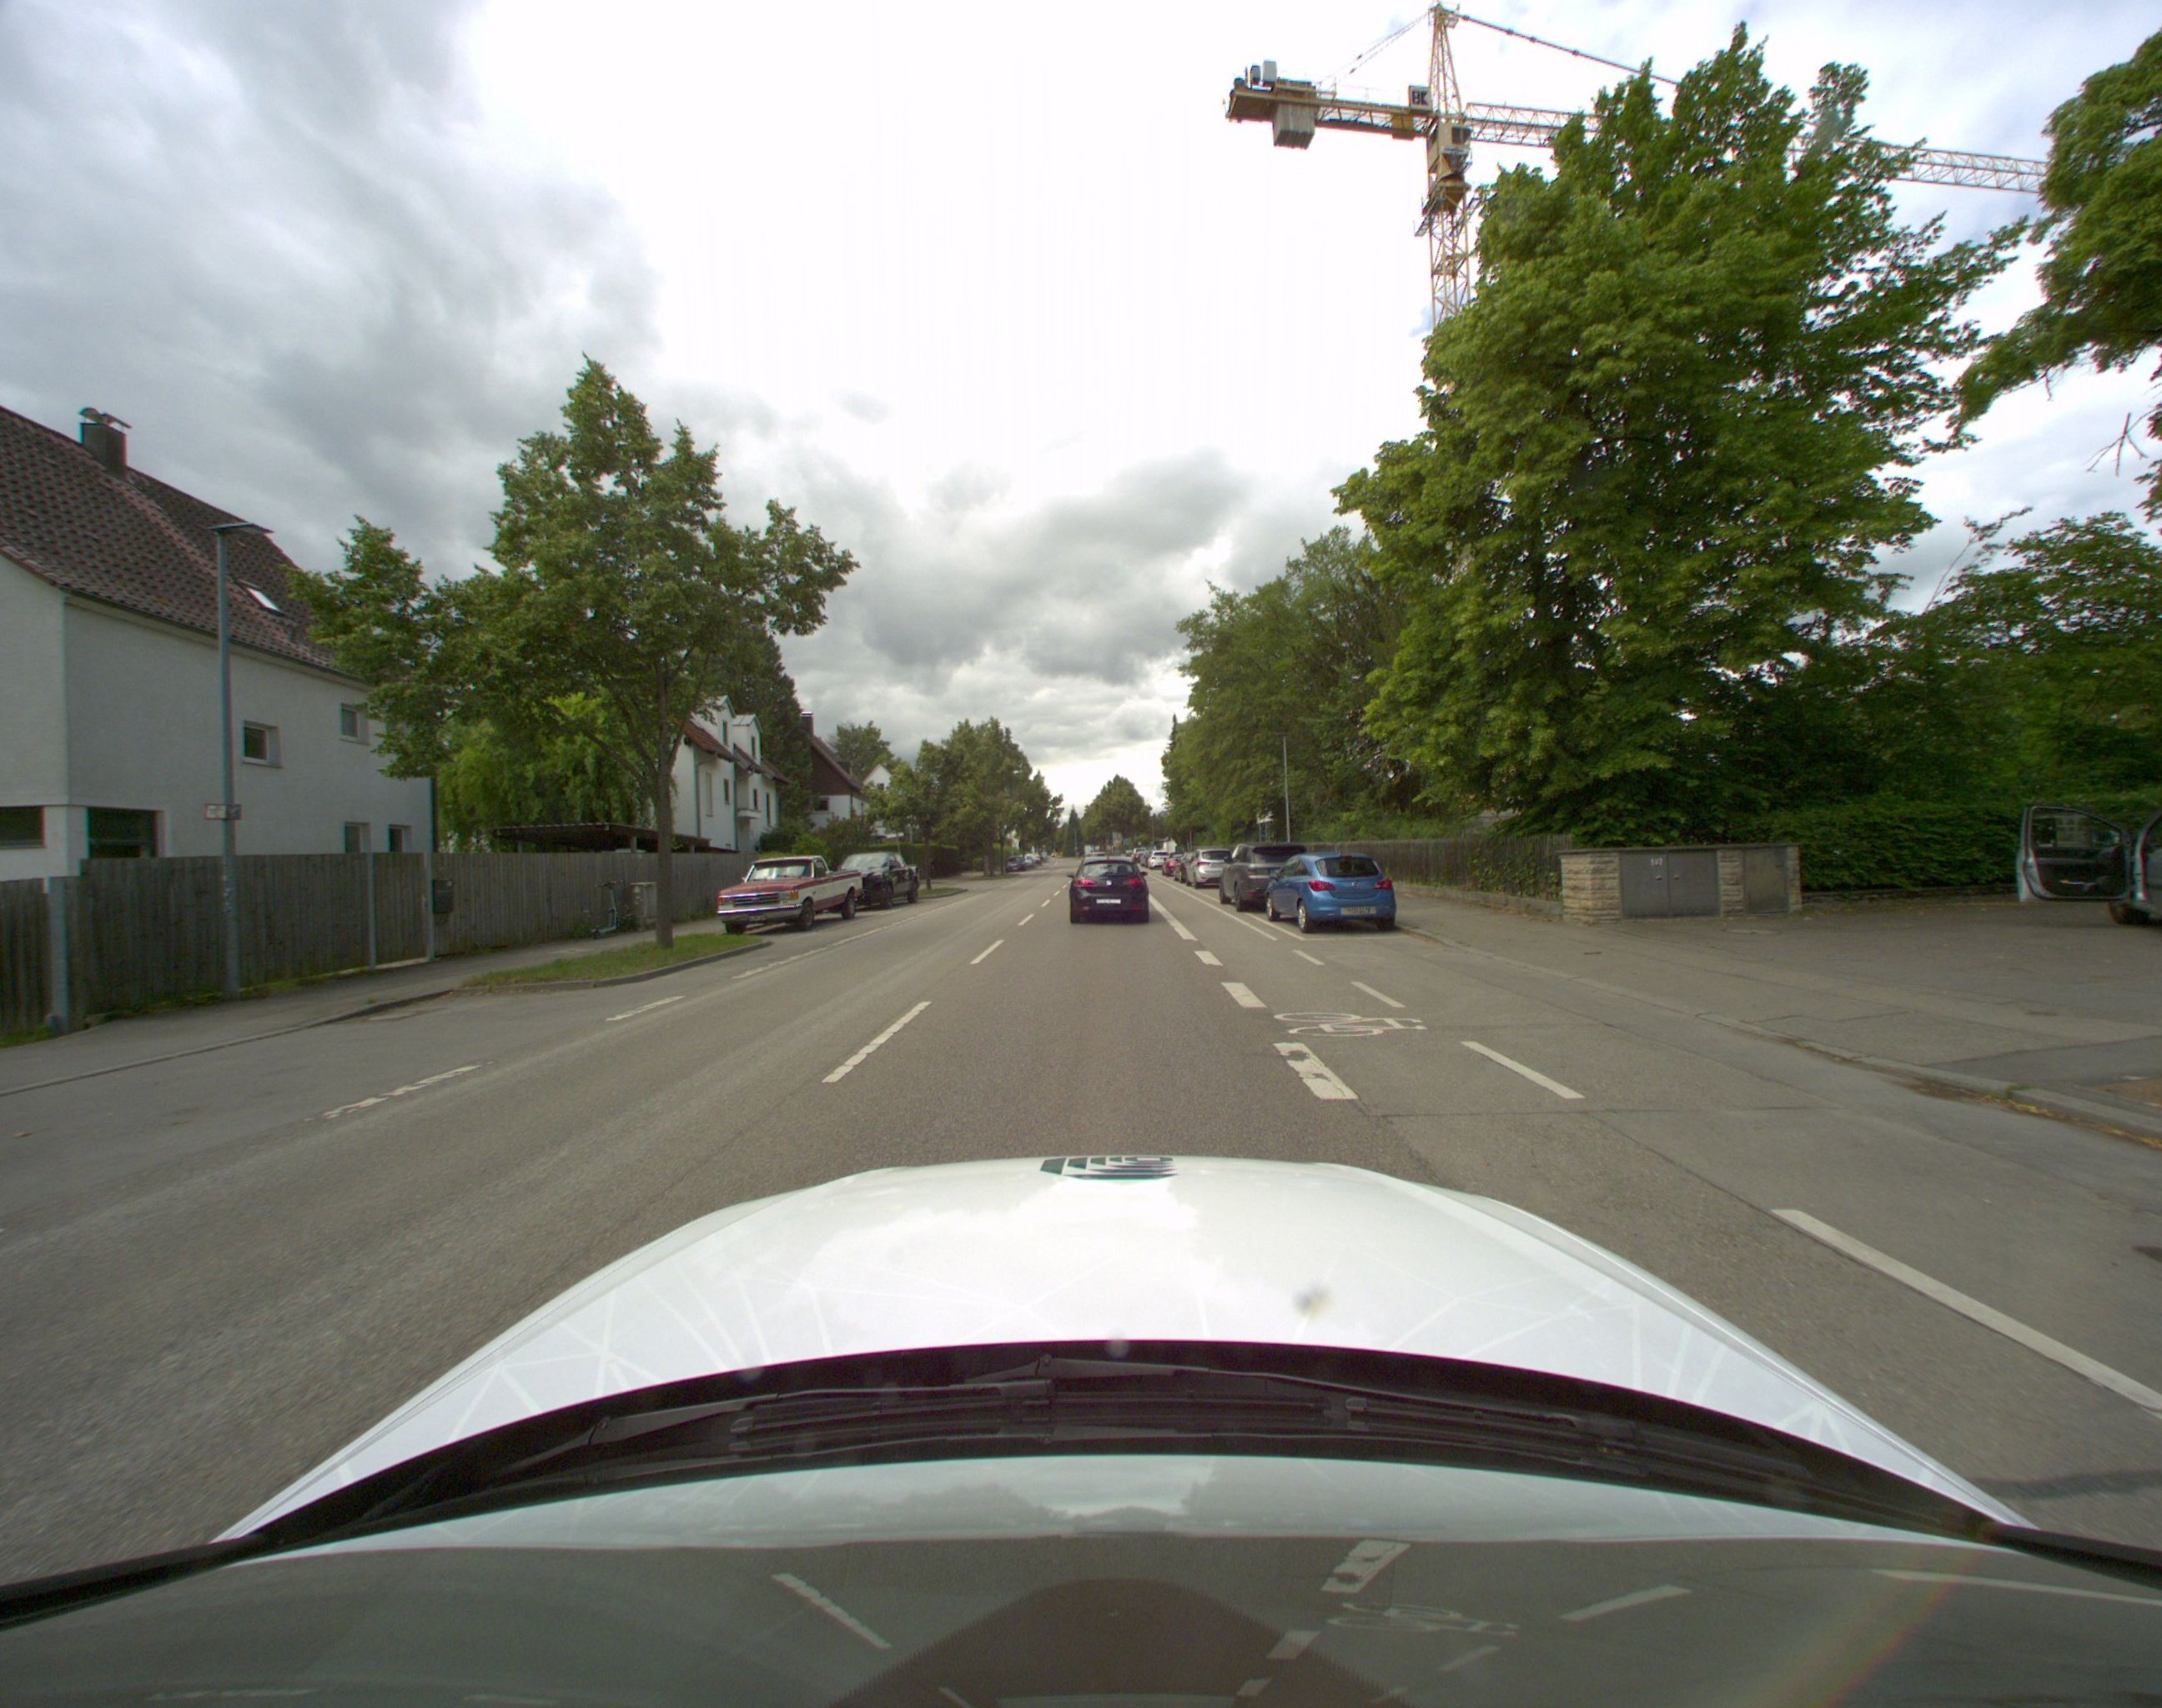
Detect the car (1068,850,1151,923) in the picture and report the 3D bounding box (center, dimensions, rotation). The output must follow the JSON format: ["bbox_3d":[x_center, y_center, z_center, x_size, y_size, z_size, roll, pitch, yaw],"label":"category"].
[{"bbox_3d":[0.663,0.675,19.025,1.725,1.486,4.002,-1,0,2],"label":"car"}]

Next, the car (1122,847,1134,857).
[{"bbox_3d":[7.670,-0.316,132.164,1.607,1.377,4.385,-3,-1,0],"label":"car"}]

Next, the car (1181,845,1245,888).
[{"bbox_3d":[5.428,0.482,33.988,1.857,1.589,4.420,-2,0,0],"label":"car"}]

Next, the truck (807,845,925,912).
[{"bbox_3d":[-7.441,0.757,29.025,2.414,2.043,5.996,-3,0,1],"label":"truck"}]

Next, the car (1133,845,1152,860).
[{"bbox_3d":[7.144,-0.211,95.545,1.894,1.642,4.117,-3,0,0],"label":"car"}]

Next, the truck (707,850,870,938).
[{"bbox_3d":[-7.440,0.914,21.482,1.959,1.868,5.667,-4,0,2],"label":"truck"}]

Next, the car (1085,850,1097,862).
[{"bbox_3d":[1.762,0.386,142.220,1.987,2.013,4.000,-2,0,0],"label":"car"}]

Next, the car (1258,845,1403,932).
[{"bbox_3d":[4.844,0.616,16.387,1.679,1.501,3.920,-2,0,0],"label":"car"}]

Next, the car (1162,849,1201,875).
[{"bbox_3d":[5.958,0.454,48.823,1.852,1.413,4.444,-1,1,1],"label":"car"}]

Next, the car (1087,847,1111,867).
[{"bbox_3d":[1.601,0.251,72.828,1.987,1.613,4.000,-2,0,0],"label":"car"}]

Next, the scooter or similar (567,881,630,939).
[{"bbox_3d":[-10.716,1.230,18.131,0.634,1.212,1.304,0,-1,-2],"label":"scooter or similar"}]

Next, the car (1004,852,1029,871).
[{"bbox_3d":[-6.168,0.689,78.306,2.090,1.647,5.034,-4,1,-2],"label":"car"}]

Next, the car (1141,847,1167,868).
[{"bbox_3d":[5.759,0.298,64.256,1.761,1.510,4.032,-3,0,2],"label":"car"}]

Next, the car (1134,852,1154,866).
[{"bbox_3d":[6.839,0.507,88.946,1.856,1.417,4.605,-2,0,2],"label":"car"}]

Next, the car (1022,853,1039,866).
[{"bbox_3d":[-6.368,0.695,102.655,1.989,1.485,4.884,-4,0,-3],"label":"car"}]

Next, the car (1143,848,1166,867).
[{"bbox_3d":[6.294,0.268,70.203,1.696,1.510,4.539,-2,1,1],"label":"car"}]

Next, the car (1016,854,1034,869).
[{"bbox_3d":[-6.387,0.842,92.678,1.713,1.613,3.908,-3,0,-1],"label":"car"}]

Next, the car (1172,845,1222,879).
[{"bbox_3d":[5.582,0.374,39.670,1.810,1.515,4.680,-1,0,1],"label":"car"}]

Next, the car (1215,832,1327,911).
[{"bbox_3d":[4.874,0.420,21.625,1.986,1.816,4.829,-1,0,2],"label":"car"}]

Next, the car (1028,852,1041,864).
[{"bbox_3d":[-6.316,0.494,110.519,1.673,1.552,4.269,-3,0,-2],"label":"car"}]

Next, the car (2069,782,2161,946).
[{"bbox_3d":[12.783,-0.006,8.976,1.793,1.660,4.025,-4,-1,43],"label":"car"}]
